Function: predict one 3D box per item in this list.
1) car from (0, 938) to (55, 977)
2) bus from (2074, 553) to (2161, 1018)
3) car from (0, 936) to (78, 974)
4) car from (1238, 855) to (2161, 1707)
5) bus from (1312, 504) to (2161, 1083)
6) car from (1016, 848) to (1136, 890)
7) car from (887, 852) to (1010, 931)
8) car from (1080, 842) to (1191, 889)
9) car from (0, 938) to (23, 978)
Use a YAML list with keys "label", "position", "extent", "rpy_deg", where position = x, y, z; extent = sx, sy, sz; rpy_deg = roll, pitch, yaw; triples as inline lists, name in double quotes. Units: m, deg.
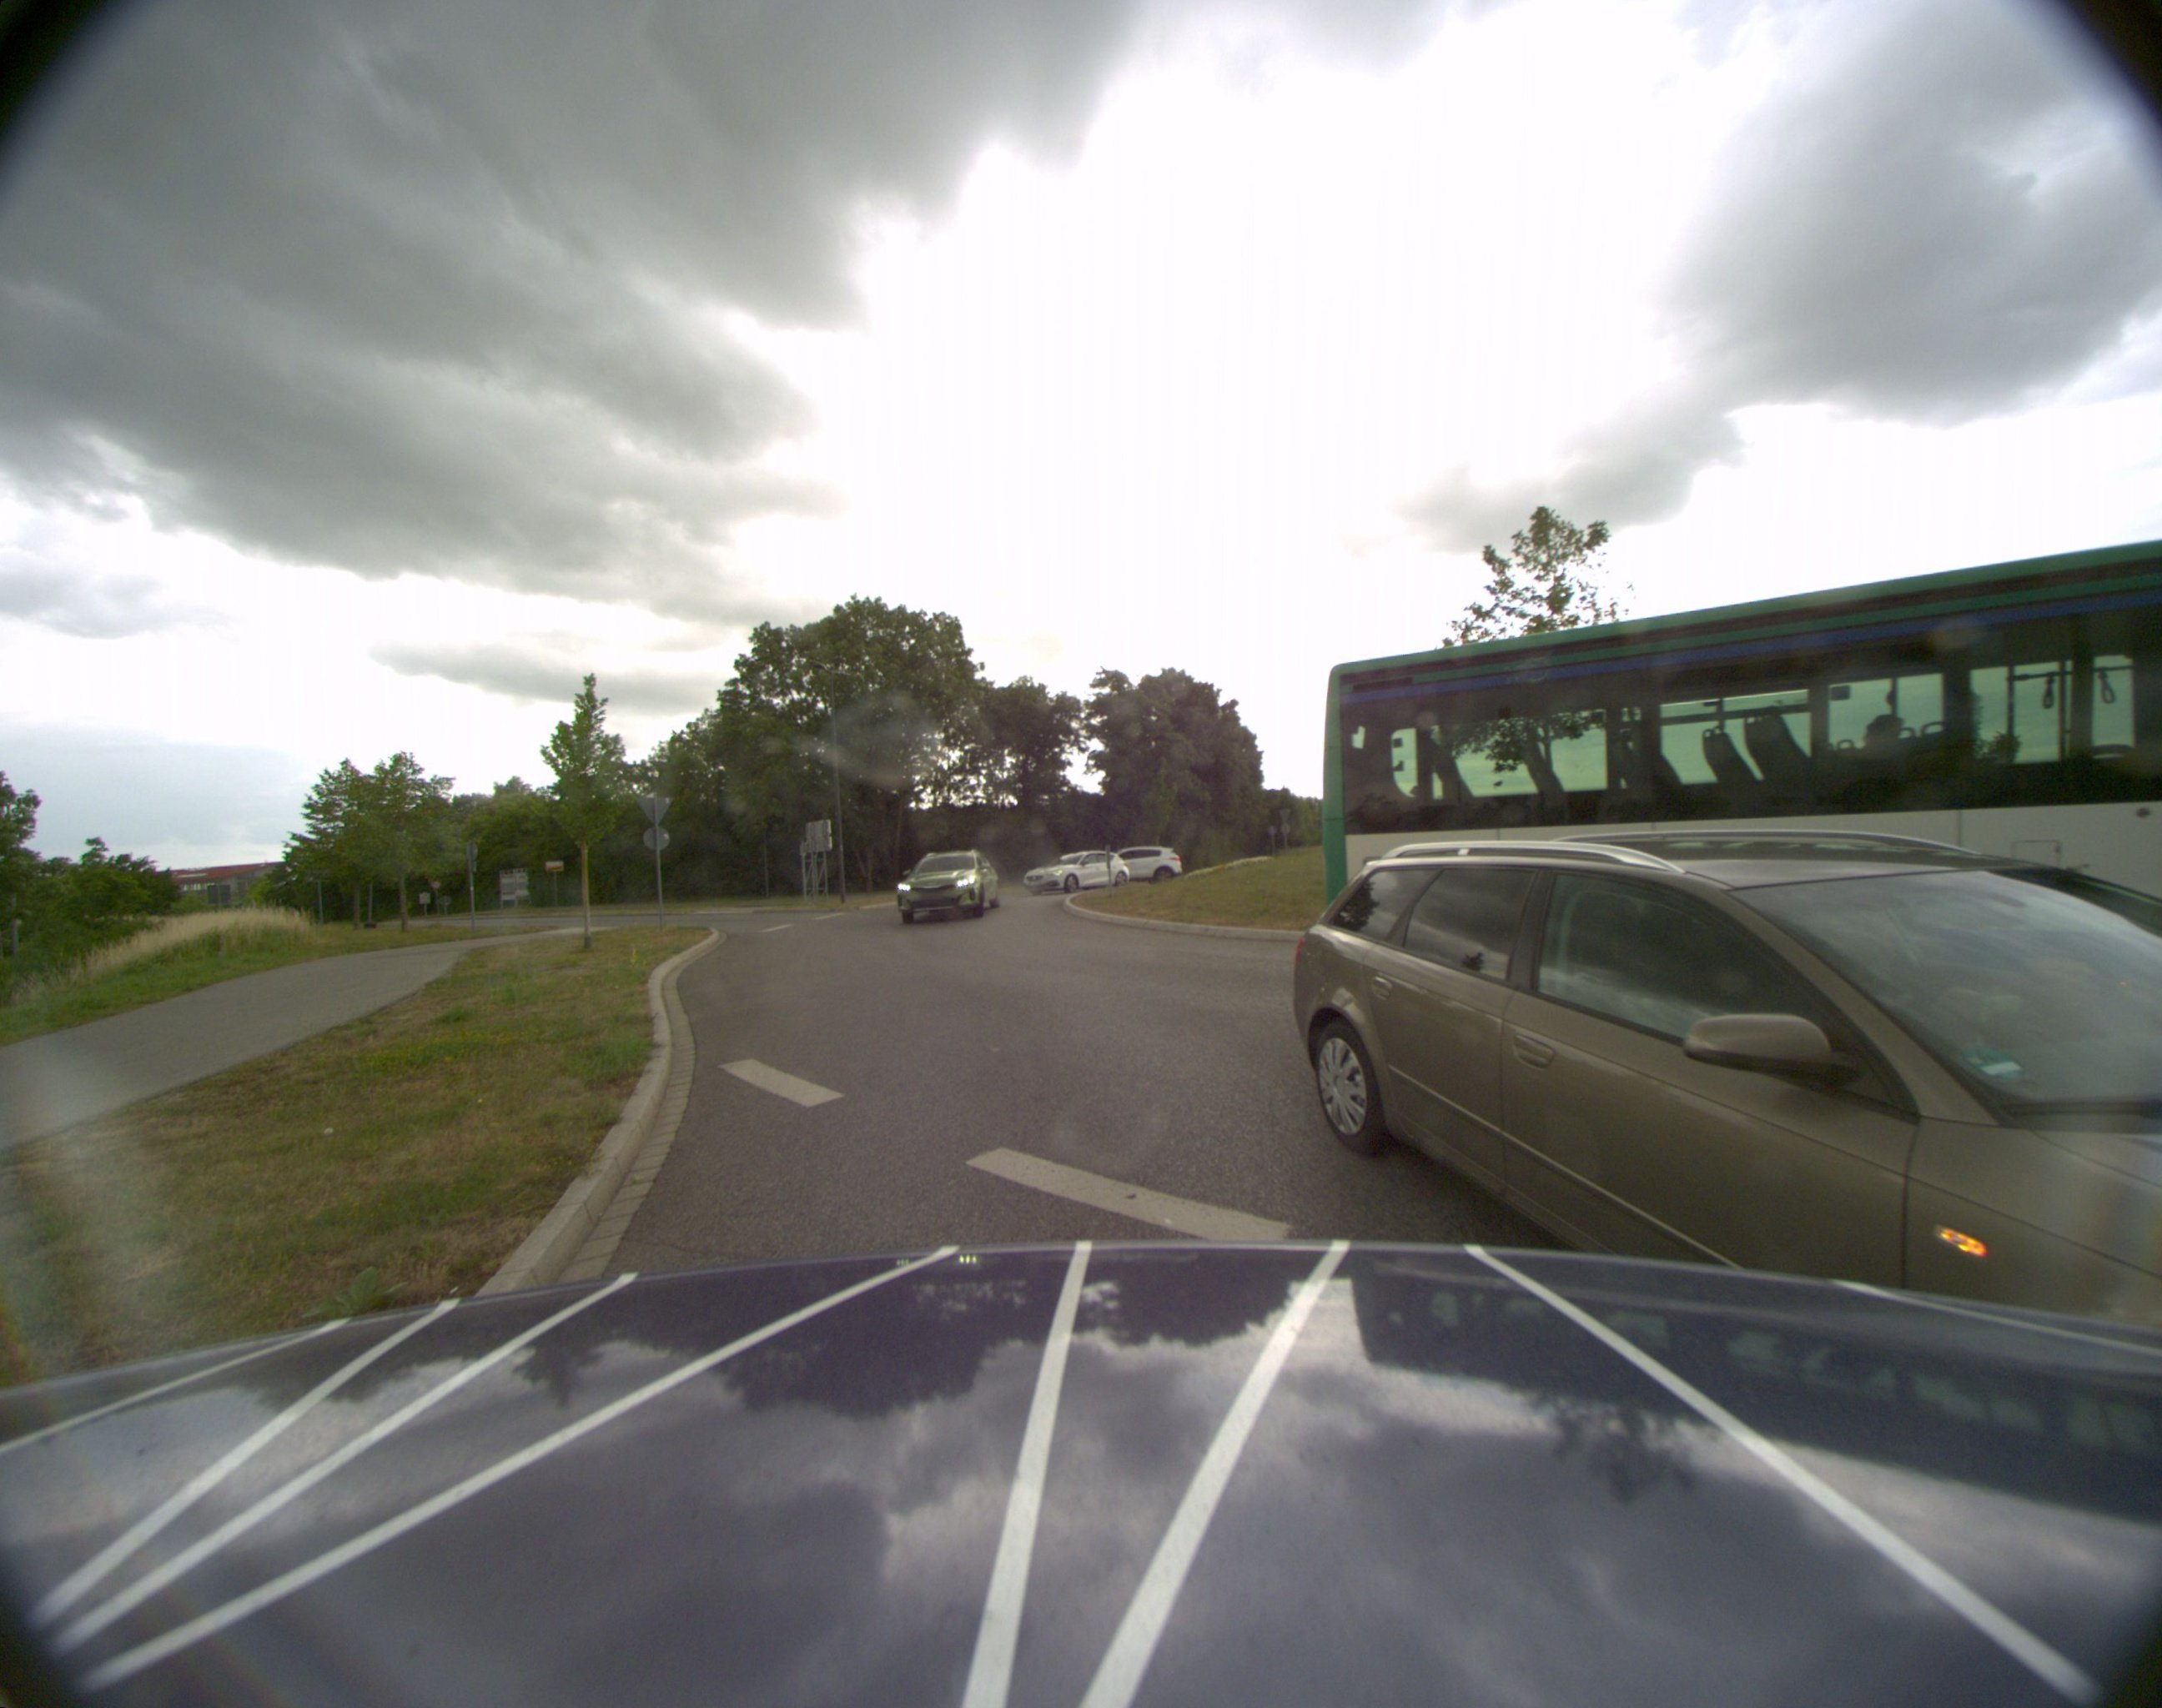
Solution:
- label: "car"
  position: [-47.494, 4.589, 32.559]
  extent: [3.896, 1.455, 1.693]
  rpy_deg: [-3, 1, -43]
- label: "bus"
  position: [10.190, -0.514, 3.379]
  extent: [6.531, 3.240, 2.529]
  rpy_deg: [-1, 2, 31]
- label: "car"
  position: [-50.221, 4.810, 35.404]
  extent: [3.896, 1.455, 1.693]
  rpy_deg: [-3, 1, -43]
- label: "car"
  position: [2.193, 0.786, 2.236]
  extent: [1.783, 1.456, 4.537]
  rpy_deg: [-4, 1, -10]
- label: "bus"
  position: [5.055, -0.329, 6.346]
  extent: [5.446, 3.240, 2.529]
  rpy_deg: [-1, 2, 31]
- label: "car"
  position: [-0.088, 0.588, 26.716]
  extent: [1.921, 1.318, 4.285]
  rpy_deg: [-3, -4, 39]
- label: "car"
  position: [-2.983, 0.769, 18.263]
  extent: [1.925, 1.493, 4.881]
  rpy_deg: [-4, 0, 1]
- label: "car"
  position: [2.256, 0.464, 32.009]
  extent: [4.274, 1.592, 1.925]
  rpy_deg: [-4, 1, -9]
- label: "car"
  position: [-44.602, 4.269, 29.432]
  extent: [3.896, 1.455, 1.693]
  rpy_deg: [-3, 1, -43]
